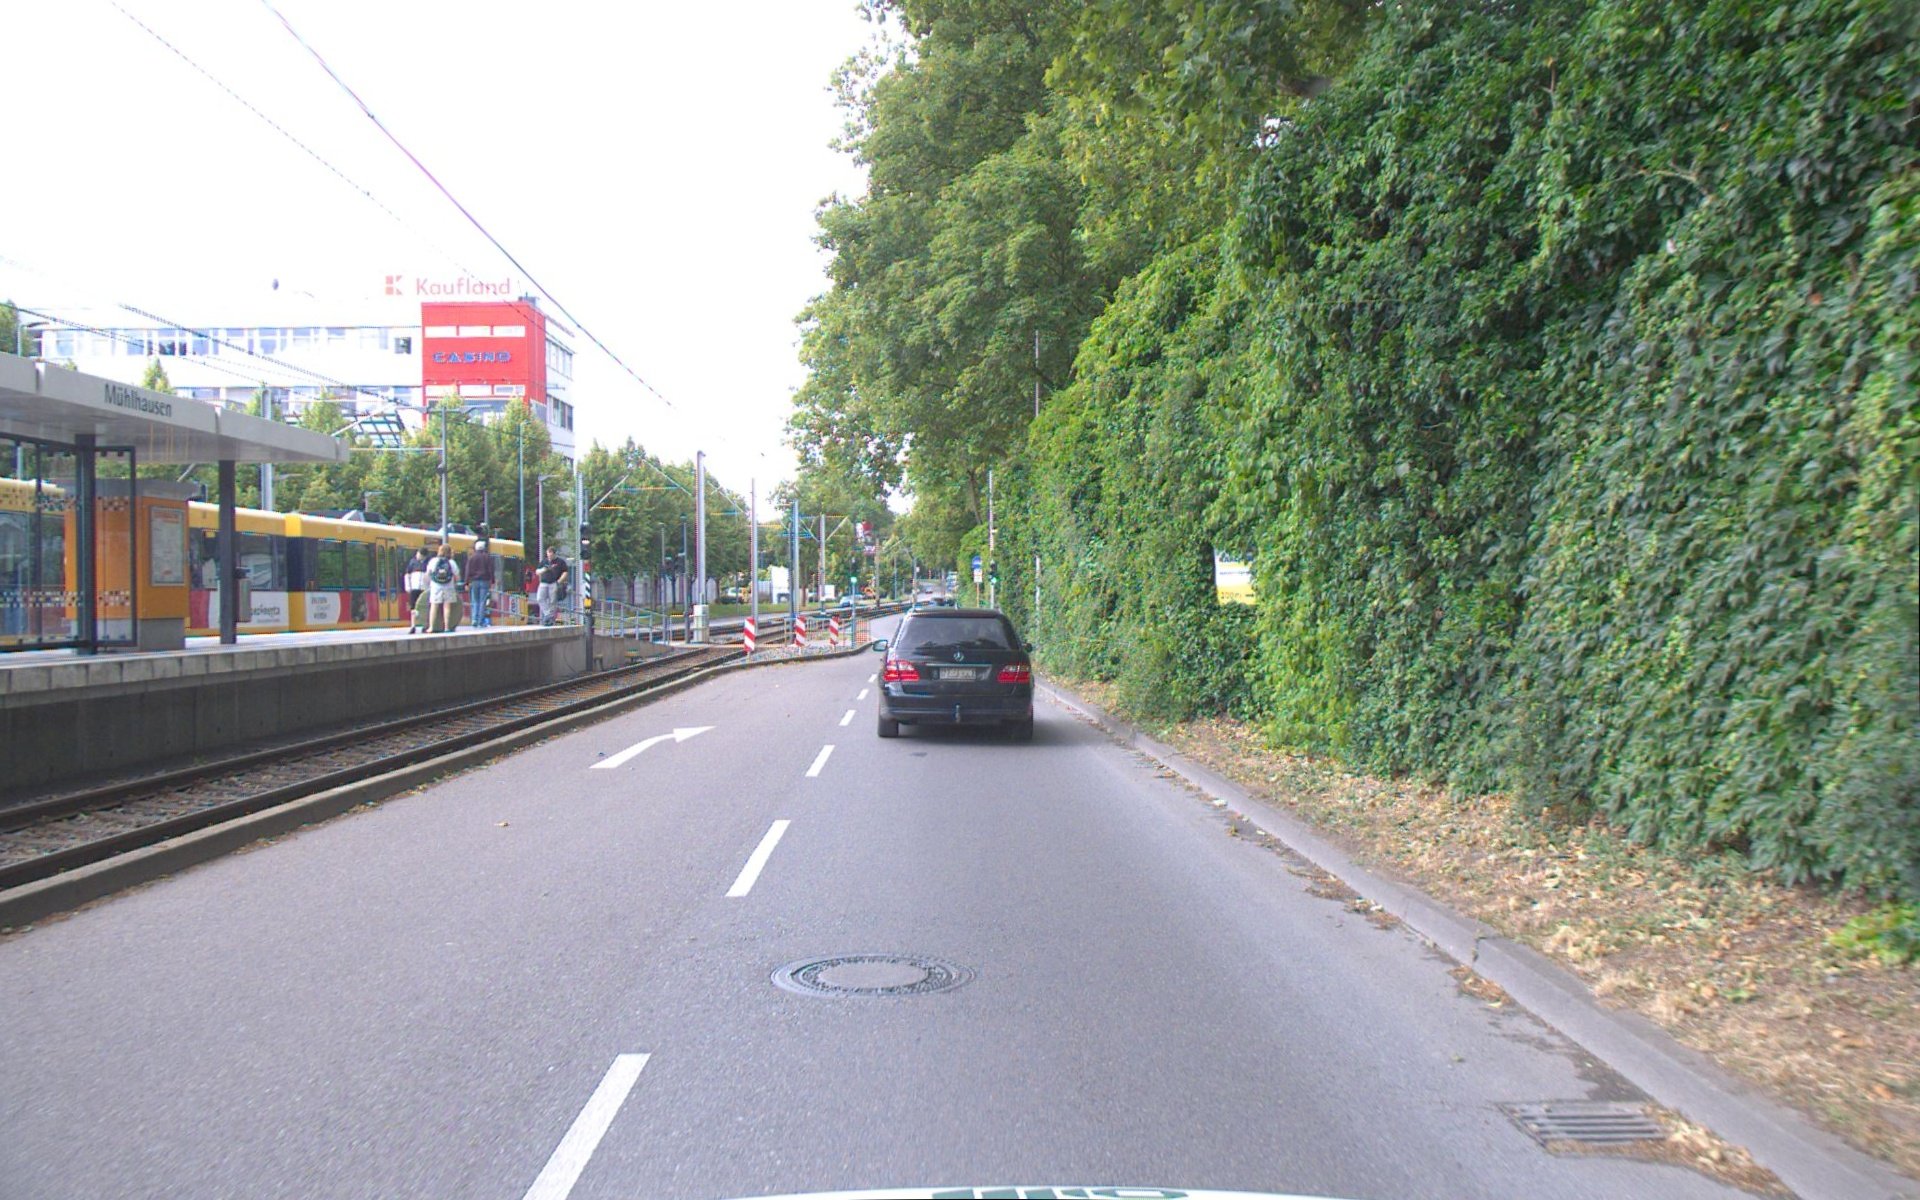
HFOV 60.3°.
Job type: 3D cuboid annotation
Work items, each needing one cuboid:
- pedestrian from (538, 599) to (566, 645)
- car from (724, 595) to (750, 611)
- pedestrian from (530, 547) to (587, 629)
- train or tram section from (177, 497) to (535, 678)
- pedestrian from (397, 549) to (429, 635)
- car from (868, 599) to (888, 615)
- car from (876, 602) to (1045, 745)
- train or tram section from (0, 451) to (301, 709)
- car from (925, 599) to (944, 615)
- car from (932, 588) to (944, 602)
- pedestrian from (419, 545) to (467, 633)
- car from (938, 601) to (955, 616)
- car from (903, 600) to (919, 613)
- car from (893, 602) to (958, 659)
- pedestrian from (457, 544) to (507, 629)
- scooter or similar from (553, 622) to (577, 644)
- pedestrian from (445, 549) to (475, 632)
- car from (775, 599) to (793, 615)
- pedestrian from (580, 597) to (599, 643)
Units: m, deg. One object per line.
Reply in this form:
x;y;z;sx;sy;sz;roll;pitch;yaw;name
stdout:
-15.159;0.807;61.449;0.600;1.683;0.796;-2;0;20;pedestrian
-25.049;0.300;186.238;1.952;1.773;4.989;-1;0;3;car
-8.581;-0.261;35.362;0.732;1.707;0.871;-2;-1;43;pedestrian
-15.691;-0.321;45.708;2.700;3.895;18.633;-2;0;1;train or tram section
-9.790;-0.140;29.592;0.467;1.509;0.540;-2;0;-15;pedestrian
-8.047;0.658;162.441;1.788;1.556;3.928;0;0;1;car
-0.004;0.788;19.825;1.796;1.504;4.415;0;0;0;car
-15.975;-0.266;27.005;2.700;3.950;18.632;-2;0;1;train or tram section
-2.559;0.688;164.760;1.788;1.557;4.416;-1;0;1;car
-3.324;-0.772;251.437;1.853;2.049;3.897;-2;0;-1;car
-9.016;-0.193;28.855;0.511;1.508;0.579;-2;-1;37;pedestrian
-1.503;0.934;185.268;1.788;1.556;3.928;0;0;1;car
-6.136;0.805;206.720;1.788;1.556;3.986;0;0;1;car
-1.016;0.863;48.362;1.788;1.556;4.414;0;0;-1;car
-9.874;-0.270;34.181;0.755;1.707;0.790;-2;0;-1;pedestrian
-14.632;1.218;61.253;0.485;0.781;0.799;-2;0;20;scooter or similar
-9.060;-0.165;29.981;0.353;1.490;0.639;0;-1;-2;pedestrian
-23.022;0.949;216.362;1.953;2.049;3.999;-2;0;-1;car
-13.869;0.735;61.868;0.505;1.691;0.466;-2;0;10;pedestrian
